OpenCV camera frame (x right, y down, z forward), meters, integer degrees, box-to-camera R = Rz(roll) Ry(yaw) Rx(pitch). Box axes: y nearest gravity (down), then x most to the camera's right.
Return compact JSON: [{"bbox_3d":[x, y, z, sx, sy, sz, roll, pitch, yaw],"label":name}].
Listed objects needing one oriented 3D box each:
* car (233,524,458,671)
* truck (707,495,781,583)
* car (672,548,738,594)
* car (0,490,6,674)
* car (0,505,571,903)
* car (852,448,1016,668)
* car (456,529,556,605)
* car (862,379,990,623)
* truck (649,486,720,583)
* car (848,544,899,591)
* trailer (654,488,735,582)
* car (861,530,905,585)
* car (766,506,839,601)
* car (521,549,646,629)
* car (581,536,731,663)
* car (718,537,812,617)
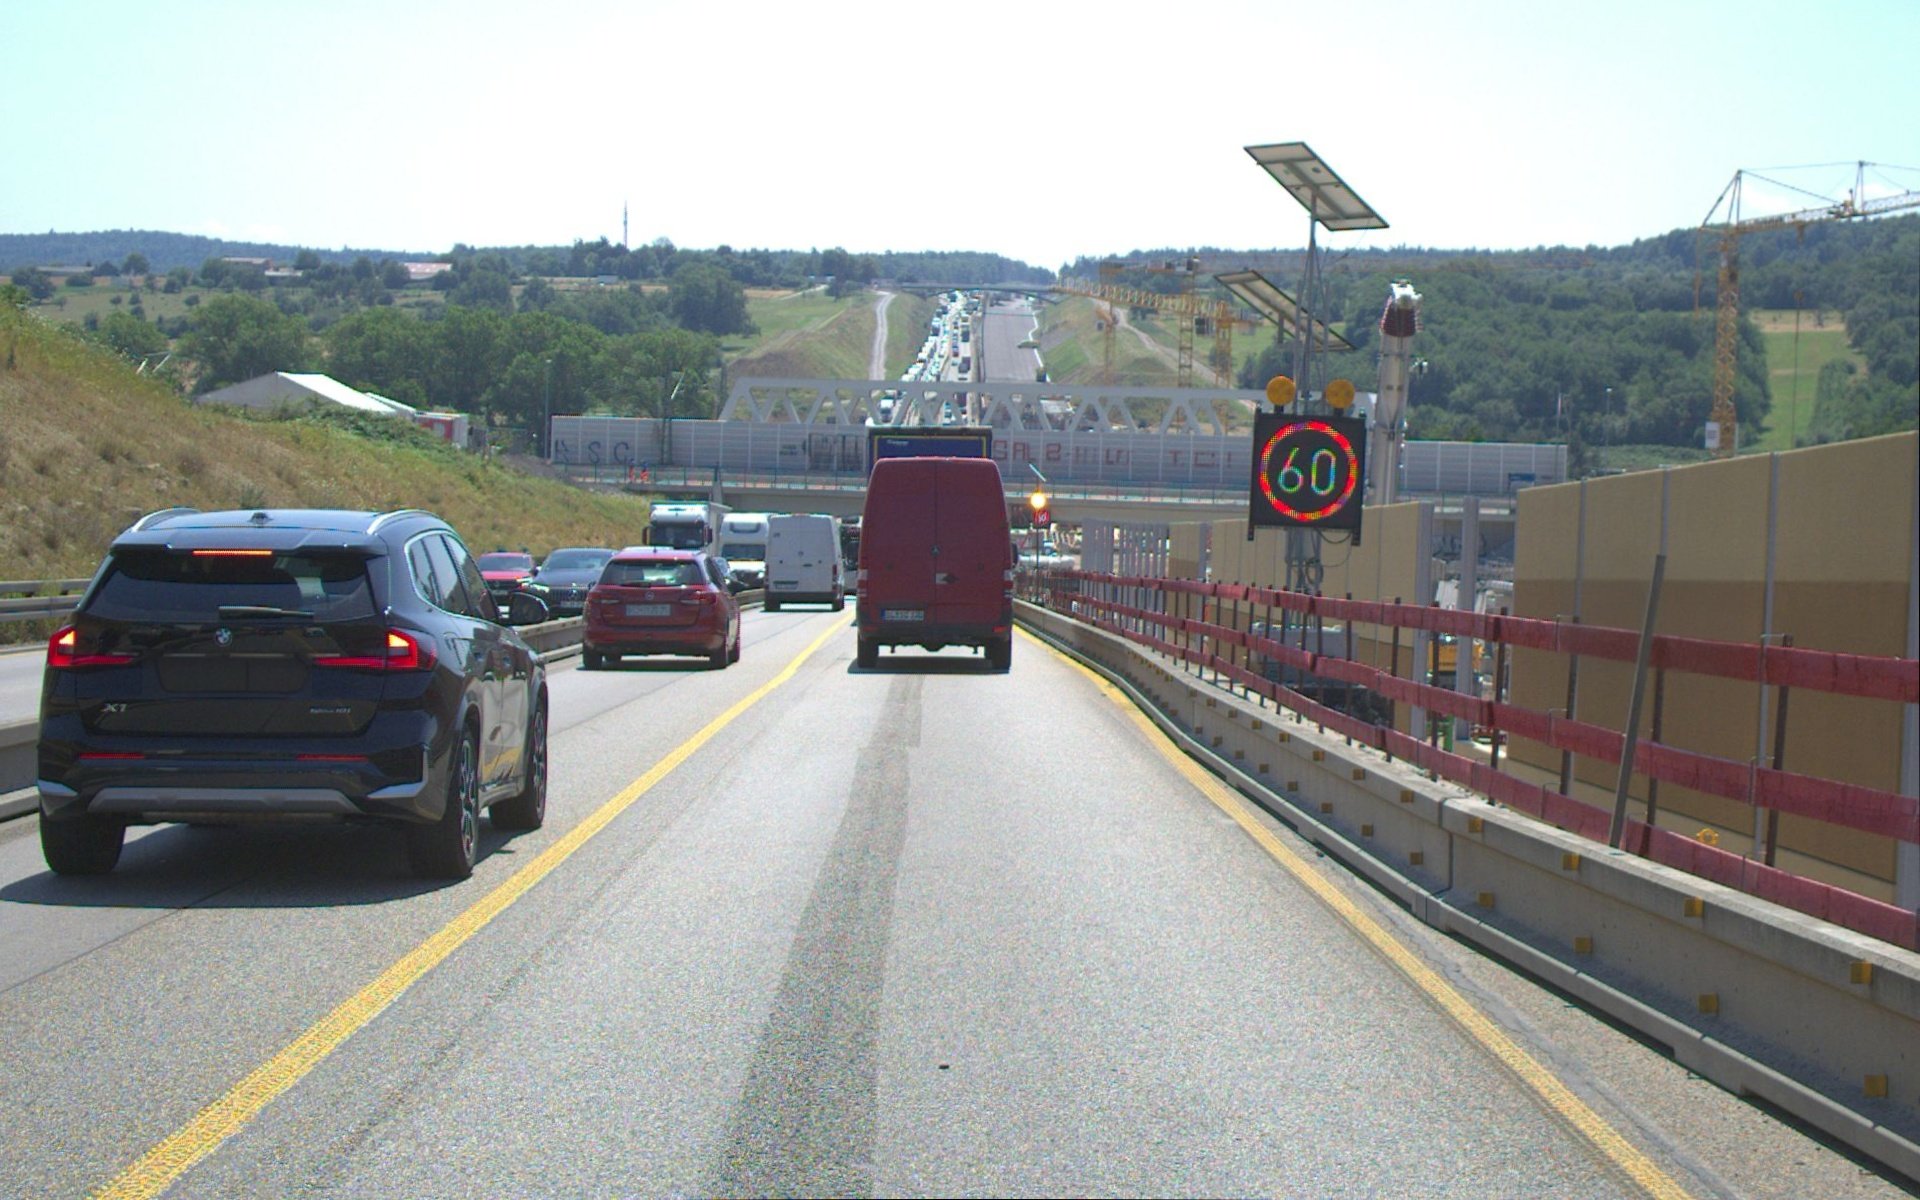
[{"bbox_3d":[-7.291,-0.081,41.300,1.839,1.648,5.372,0,1,-1],"label":"car"},{"bbox_3d":[-8.556,-2.404,136.837,2.538,3.362,7.038,1,1,-1],"label":"truck"},{"bbox_3d":[-8.168,-0.948,110.275,1.797,1.422,4.950,1,1,-1],"label":"car"},{"bbox_3d":[-10.992,-0.140,33.522,2.038,1.919,5.122,0,1,-1],"label":"car"},{"bbox_3d":[-3.016,0.390,16.264,1.879,1.612,4.499,0,1,-1],"label":"car"},{"bbox_3d":[-0.341,-0.554,44.394,1.988,2.681,4.624,0,1,-1],"label":"car"},{"bbox_3d":[-11.014,-0.809,83.683,1.830,1.784,5.026,0,1,-1],"label":"car"},{"bbox_3d":[-0.743,-2.125,76.240,2.621,5.015,10.397,0,1,-1],"label":"car"},{"bbox_3d":[-11.757,-2.787,147.042,2.698,4.036,3.955,1,1,-1],"label":"truck"},{"bbox_3d":[-3.133,-1.184,124.994,1.776,1.664,4.029,0,1,-1],"label":"car"},{"bbox_3d":[-11.880,-2.886,154.824,2.698,4.011,13.703,1,1,-1],"label":"trailer"},{"bbox_3d":[-3.283,-1.833,147.182,1.776,2.322,4.206,0,1,-1],"label":"car"},{"bbox_3d":[-4.130,-1.236,90.744,1.776,2.433,4.206,0,1,-1],"label":"car"},{"bbox_3d":[-7.446,-0.241,68.463,1.955,1.494,5.090,1,1,-1],"label":"car"},{"bbox_3d":[-3.779,-0.038,43.298,1.775,1.512,4.207,0,1,-4],"label":"car"},{"bbox_3d":[-4.123,-0.514,73.151,1.839,1.648,4.165,0,1,-1],"label":"car"}]
